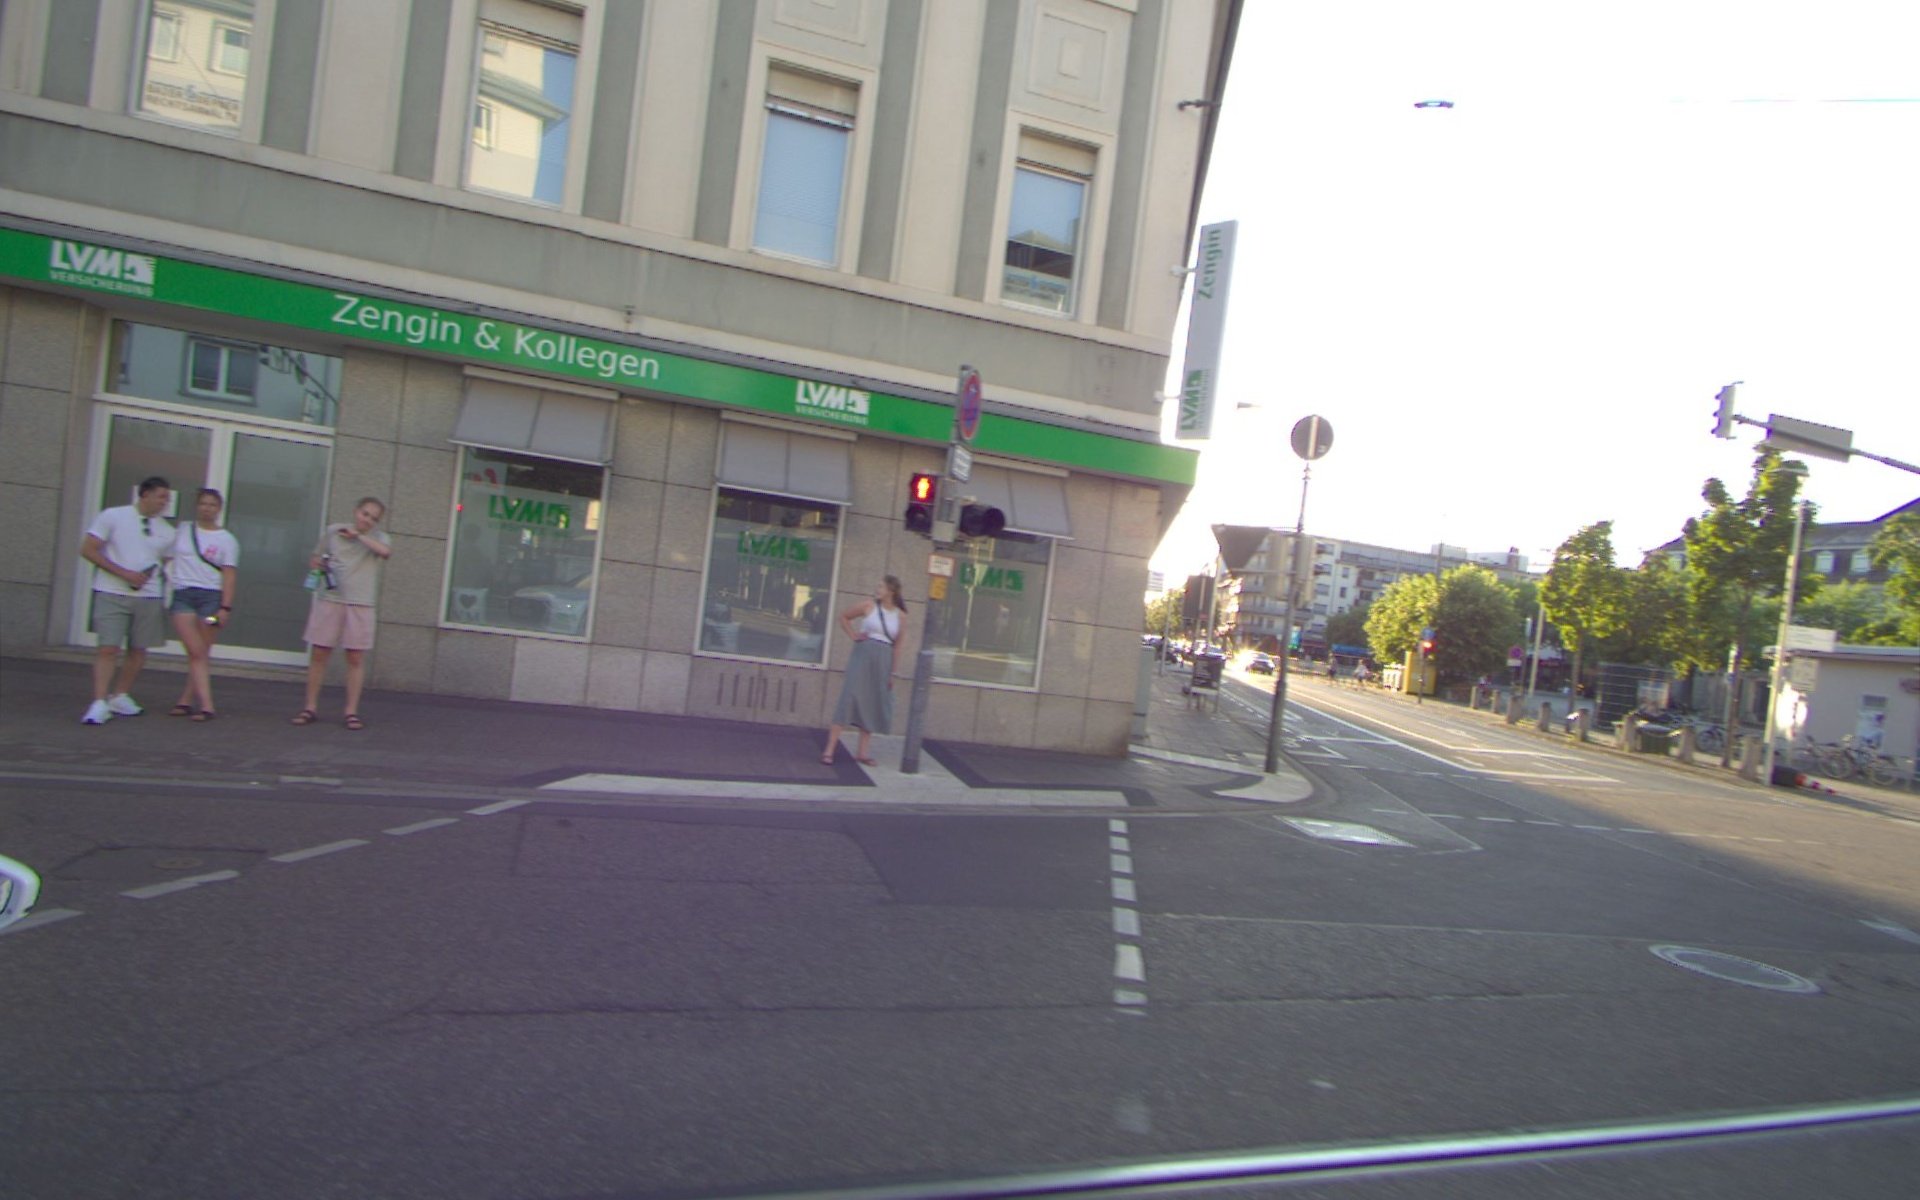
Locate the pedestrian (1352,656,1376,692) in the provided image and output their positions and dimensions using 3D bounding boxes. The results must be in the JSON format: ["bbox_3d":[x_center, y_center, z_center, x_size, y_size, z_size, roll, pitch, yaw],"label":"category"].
[{"bbox_3d":[23.585,4.310,58.741,0.978,1.981,0.804,6,1,35],"label":"pedestrian"}]

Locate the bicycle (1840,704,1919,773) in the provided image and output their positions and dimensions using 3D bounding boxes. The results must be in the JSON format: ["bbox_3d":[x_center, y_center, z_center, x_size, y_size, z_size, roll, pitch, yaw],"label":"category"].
[{"bbox_3d":[24.113,3.595,26.017,1.954,1.542,0.479,7,1,9],"label":"bicycle"}]

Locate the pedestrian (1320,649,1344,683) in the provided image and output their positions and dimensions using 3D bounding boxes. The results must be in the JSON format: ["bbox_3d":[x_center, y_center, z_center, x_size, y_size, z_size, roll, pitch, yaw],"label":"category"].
[{"bbox_3d":[21.527,3.815,58.162,0.978,1.806,0.804,6,1,35],"label":"pedestrian"}]

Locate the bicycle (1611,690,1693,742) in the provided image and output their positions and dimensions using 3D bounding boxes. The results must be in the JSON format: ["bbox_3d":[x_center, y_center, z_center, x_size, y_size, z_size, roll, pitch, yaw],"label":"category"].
[{"bbox_3d":[24.910,4.158,36.259,2.187,1.542,0.681,7,1,13],"label":"bicycle"}]

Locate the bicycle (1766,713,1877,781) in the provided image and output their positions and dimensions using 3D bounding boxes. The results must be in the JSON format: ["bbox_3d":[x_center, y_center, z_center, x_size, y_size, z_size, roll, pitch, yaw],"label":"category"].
[{"bbox_3d":[24.059,4.100,28.128,2.187,1.542,0.681,7,1,9],"label":"bicycle"}]

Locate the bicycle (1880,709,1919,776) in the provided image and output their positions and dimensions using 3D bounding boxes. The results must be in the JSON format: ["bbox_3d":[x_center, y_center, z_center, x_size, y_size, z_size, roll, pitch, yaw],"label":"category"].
[{"bbox_3d":[24.073,3.600,24.780,1.954,1.542,0.479,7,1,15],"label":"bicycle"}]

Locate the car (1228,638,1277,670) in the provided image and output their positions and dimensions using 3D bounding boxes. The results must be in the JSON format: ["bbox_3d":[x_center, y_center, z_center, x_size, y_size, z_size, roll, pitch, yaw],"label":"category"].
[{"bbox_3d":[19.628,3.580,67.840,2.267,1.699,5.534,7,0,8],"label":"car"}]

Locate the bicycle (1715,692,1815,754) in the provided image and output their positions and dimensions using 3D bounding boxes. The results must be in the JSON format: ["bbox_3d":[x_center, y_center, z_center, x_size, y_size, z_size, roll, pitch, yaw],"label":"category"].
[{"bbox_3d":[24.561,3.739,30.724,2.187,1.542,0.681,7,1,9],"label":"bicycle"}]

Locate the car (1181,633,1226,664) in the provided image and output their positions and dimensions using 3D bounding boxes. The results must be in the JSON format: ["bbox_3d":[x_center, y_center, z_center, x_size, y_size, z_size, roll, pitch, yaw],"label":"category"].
[{"bbox_3d":[16.406,3.234,68.055,2.267,1.699,5.534,7,0,8],"label":"car"}]

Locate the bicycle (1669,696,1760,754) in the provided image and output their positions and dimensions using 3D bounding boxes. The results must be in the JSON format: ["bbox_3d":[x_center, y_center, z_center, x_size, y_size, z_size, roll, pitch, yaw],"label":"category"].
[{"bbox_3d":[24.802,4.103,33.095,2.187,1.542,0.681,7,1,9],"label":"bicycle"}]

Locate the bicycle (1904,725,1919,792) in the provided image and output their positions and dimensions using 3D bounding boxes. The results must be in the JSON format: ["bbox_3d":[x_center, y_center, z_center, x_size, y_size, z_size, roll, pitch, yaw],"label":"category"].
[{"bbox_3d":[23.571,3.848,23.657,1.954,1.542,0.479,7,1,8],"label":"bicycle"}]

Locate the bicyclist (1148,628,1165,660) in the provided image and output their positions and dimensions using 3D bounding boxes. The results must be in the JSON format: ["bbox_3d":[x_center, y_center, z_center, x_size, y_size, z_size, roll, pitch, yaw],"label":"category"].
[{"bbox_3d":[11.146,2.491,57.105,0.657,1.729,0.680,7,1,21],"label":"bicyclist"}]

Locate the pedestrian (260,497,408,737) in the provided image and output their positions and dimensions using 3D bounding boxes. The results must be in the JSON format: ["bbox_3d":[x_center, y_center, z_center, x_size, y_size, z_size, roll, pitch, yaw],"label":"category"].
[{"bbox_3d":[-4.946,0.132,7.994,0.688,1.767,0.638,6,1,-14],"label":"pedestrian"}]

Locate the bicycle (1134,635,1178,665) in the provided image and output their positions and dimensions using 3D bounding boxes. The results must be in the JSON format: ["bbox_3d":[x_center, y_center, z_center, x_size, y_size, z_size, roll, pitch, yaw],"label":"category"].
[{"bbox_3d":[11.126,2.822,57.098,2.188,1.419,0.680,7,1,21],"label":"bicycle"}]

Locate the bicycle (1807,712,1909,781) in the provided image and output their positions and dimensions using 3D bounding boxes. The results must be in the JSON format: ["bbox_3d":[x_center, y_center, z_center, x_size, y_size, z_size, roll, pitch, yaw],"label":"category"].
[{"bbox_3d":[24.138,3.917,27.062,1.954,1.542,0.479,7,1,9],"label":"bicycle"}]

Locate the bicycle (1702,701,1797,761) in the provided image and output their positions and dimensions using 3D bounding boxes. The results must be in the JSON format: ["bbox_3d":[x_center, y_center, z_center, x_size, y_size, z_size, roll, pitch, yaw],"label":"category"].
[{"bbox_3d":[25.067,4.136,31.962,2.187,1.542,0.681,7,1,9],"label":"bicycle"}]

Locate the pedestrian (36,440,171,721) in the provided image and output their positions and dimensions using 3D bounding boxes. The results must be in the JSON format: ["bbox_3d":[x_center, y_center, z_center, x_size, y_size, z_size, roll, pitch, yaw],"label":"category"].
[{"bbox_3d":[-6.292,-0.131,7.418,0.490,1.953,0.572,6,1,-26],"label":"pedestrian"}]

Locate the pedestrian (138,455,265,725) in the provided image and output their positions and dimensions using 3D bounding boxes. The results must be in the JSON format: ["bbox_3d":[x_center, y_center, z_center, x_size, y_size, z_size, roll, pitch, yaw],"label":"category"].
[{"bbox_3d":[-5.806,-0.069,7.735,0.523,1.953,0.635,6,1,-27],"label":"pedestrian"}]

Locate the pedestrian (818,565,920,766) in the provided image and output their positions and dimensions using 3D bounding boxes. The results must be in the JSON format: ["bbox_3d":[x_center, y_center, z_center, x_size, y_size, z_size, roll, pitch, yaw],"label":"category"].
[{"bbox_3d":[-0.877,0.606,9.557,0.662,1.801,0.645,6,1,-16],"label":"pedestrian"}]
